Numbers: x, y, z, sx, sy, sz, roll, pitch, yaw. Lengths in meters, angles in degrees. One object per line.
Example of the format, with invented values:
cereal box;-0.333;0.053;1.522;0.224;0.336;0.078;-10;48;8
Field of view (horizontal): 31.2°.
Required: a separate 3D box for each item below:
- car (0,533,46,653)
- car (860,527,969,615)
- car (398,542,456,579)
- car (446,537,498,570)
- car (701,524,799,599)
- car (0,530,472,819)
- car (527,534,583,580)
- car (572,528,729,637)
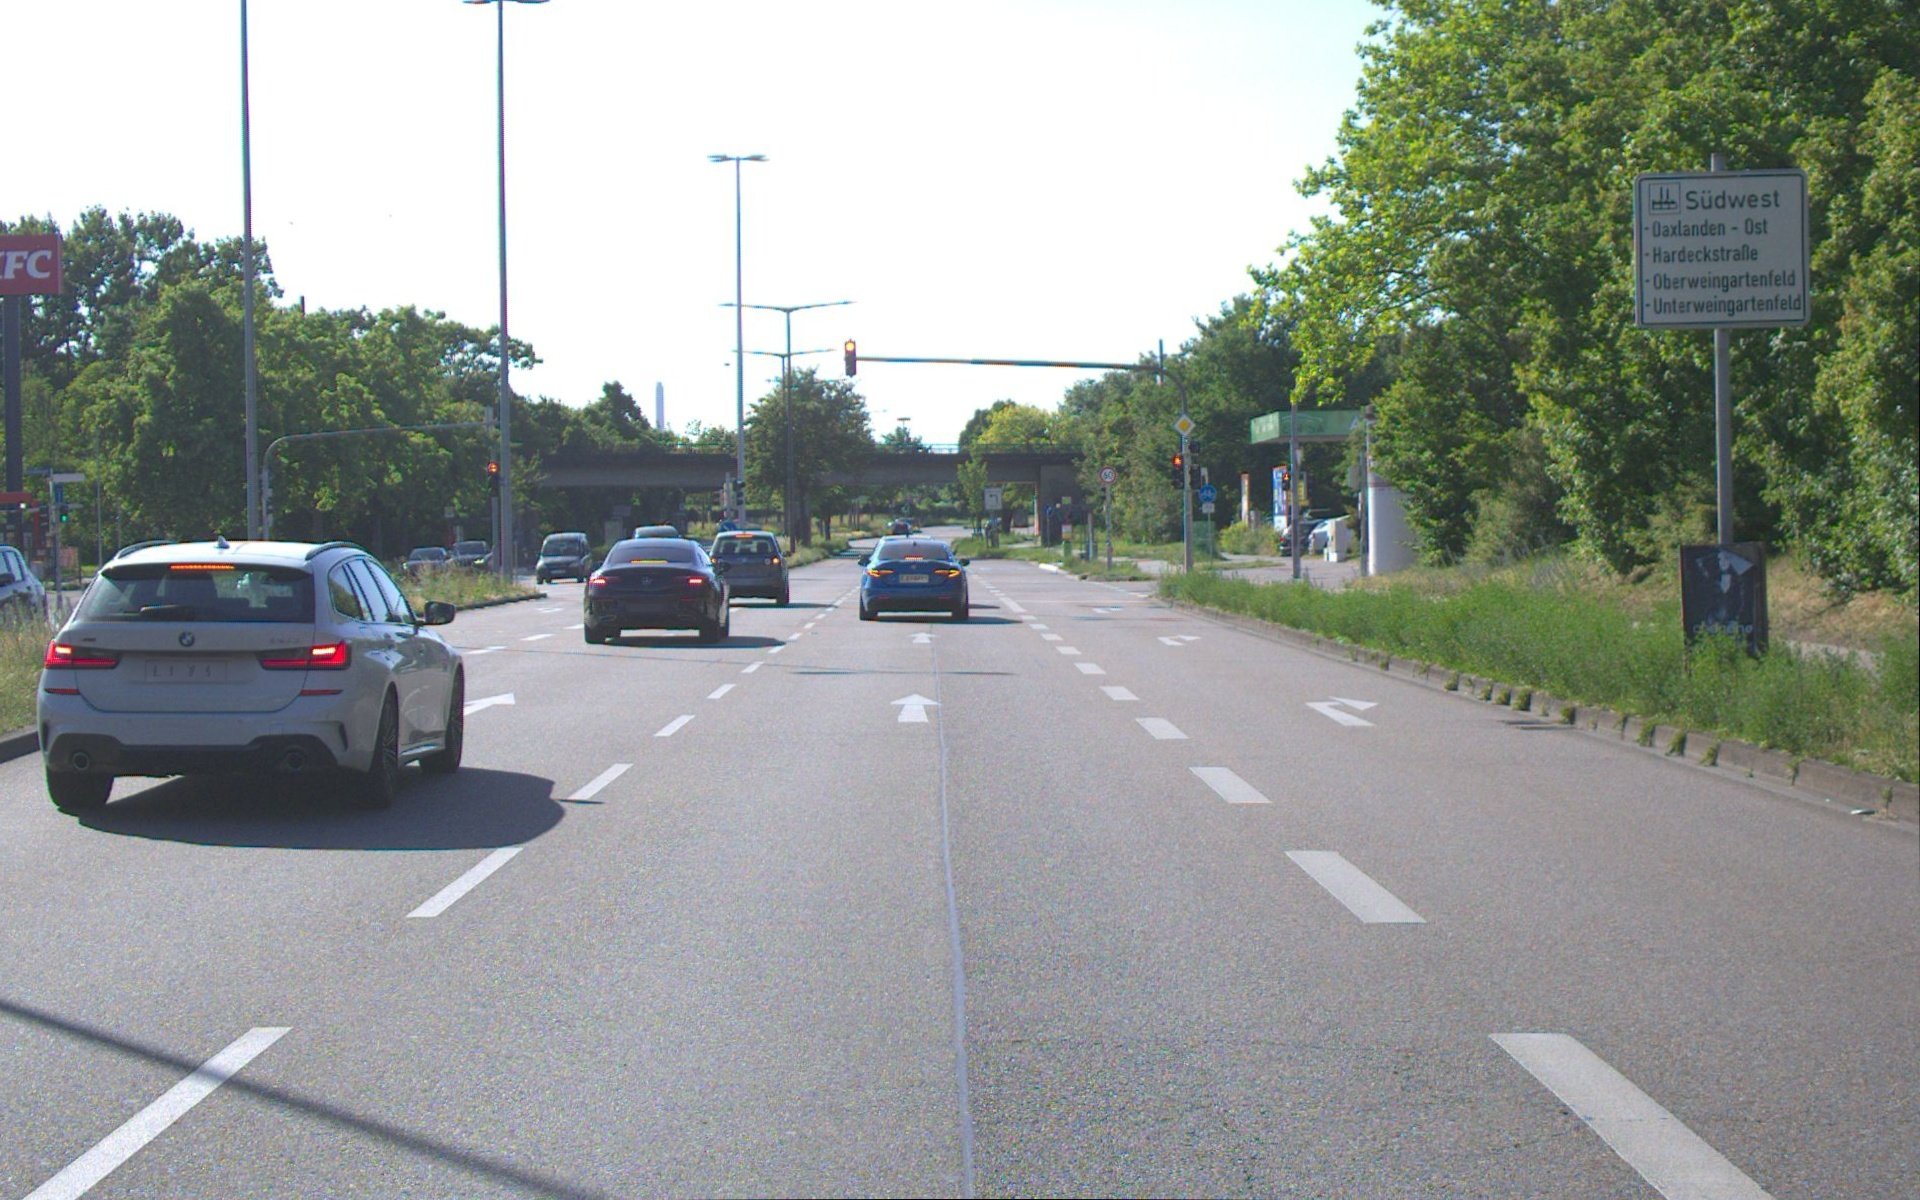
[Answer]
car;-13.799;-0.104;47.199;1.535;1.617;3.671;0;1;-1
car;-0.798;-0.543;61.163;1.861;1.494;4.337;0;1;-1
car;-20.890;-1.546;134.810;1.703;1.397;3.723;0;1;-1
car;-21.059;-2.020;148.441;1.703;1.397;3.723;0;1;-1
car;-4.452;-0.849;73.496;1.861;1.560;4.548;0;1;-1
car;-4.024;0.335;19.821;1.861;1.450;4.548;0;1;-1
car;-14.325;-1.542;121.789;1.535;1.575;3.671;-1;1;-1
car;-4.328;-0.277;48.640;1.861;1.450;4.548;0;1;-1
